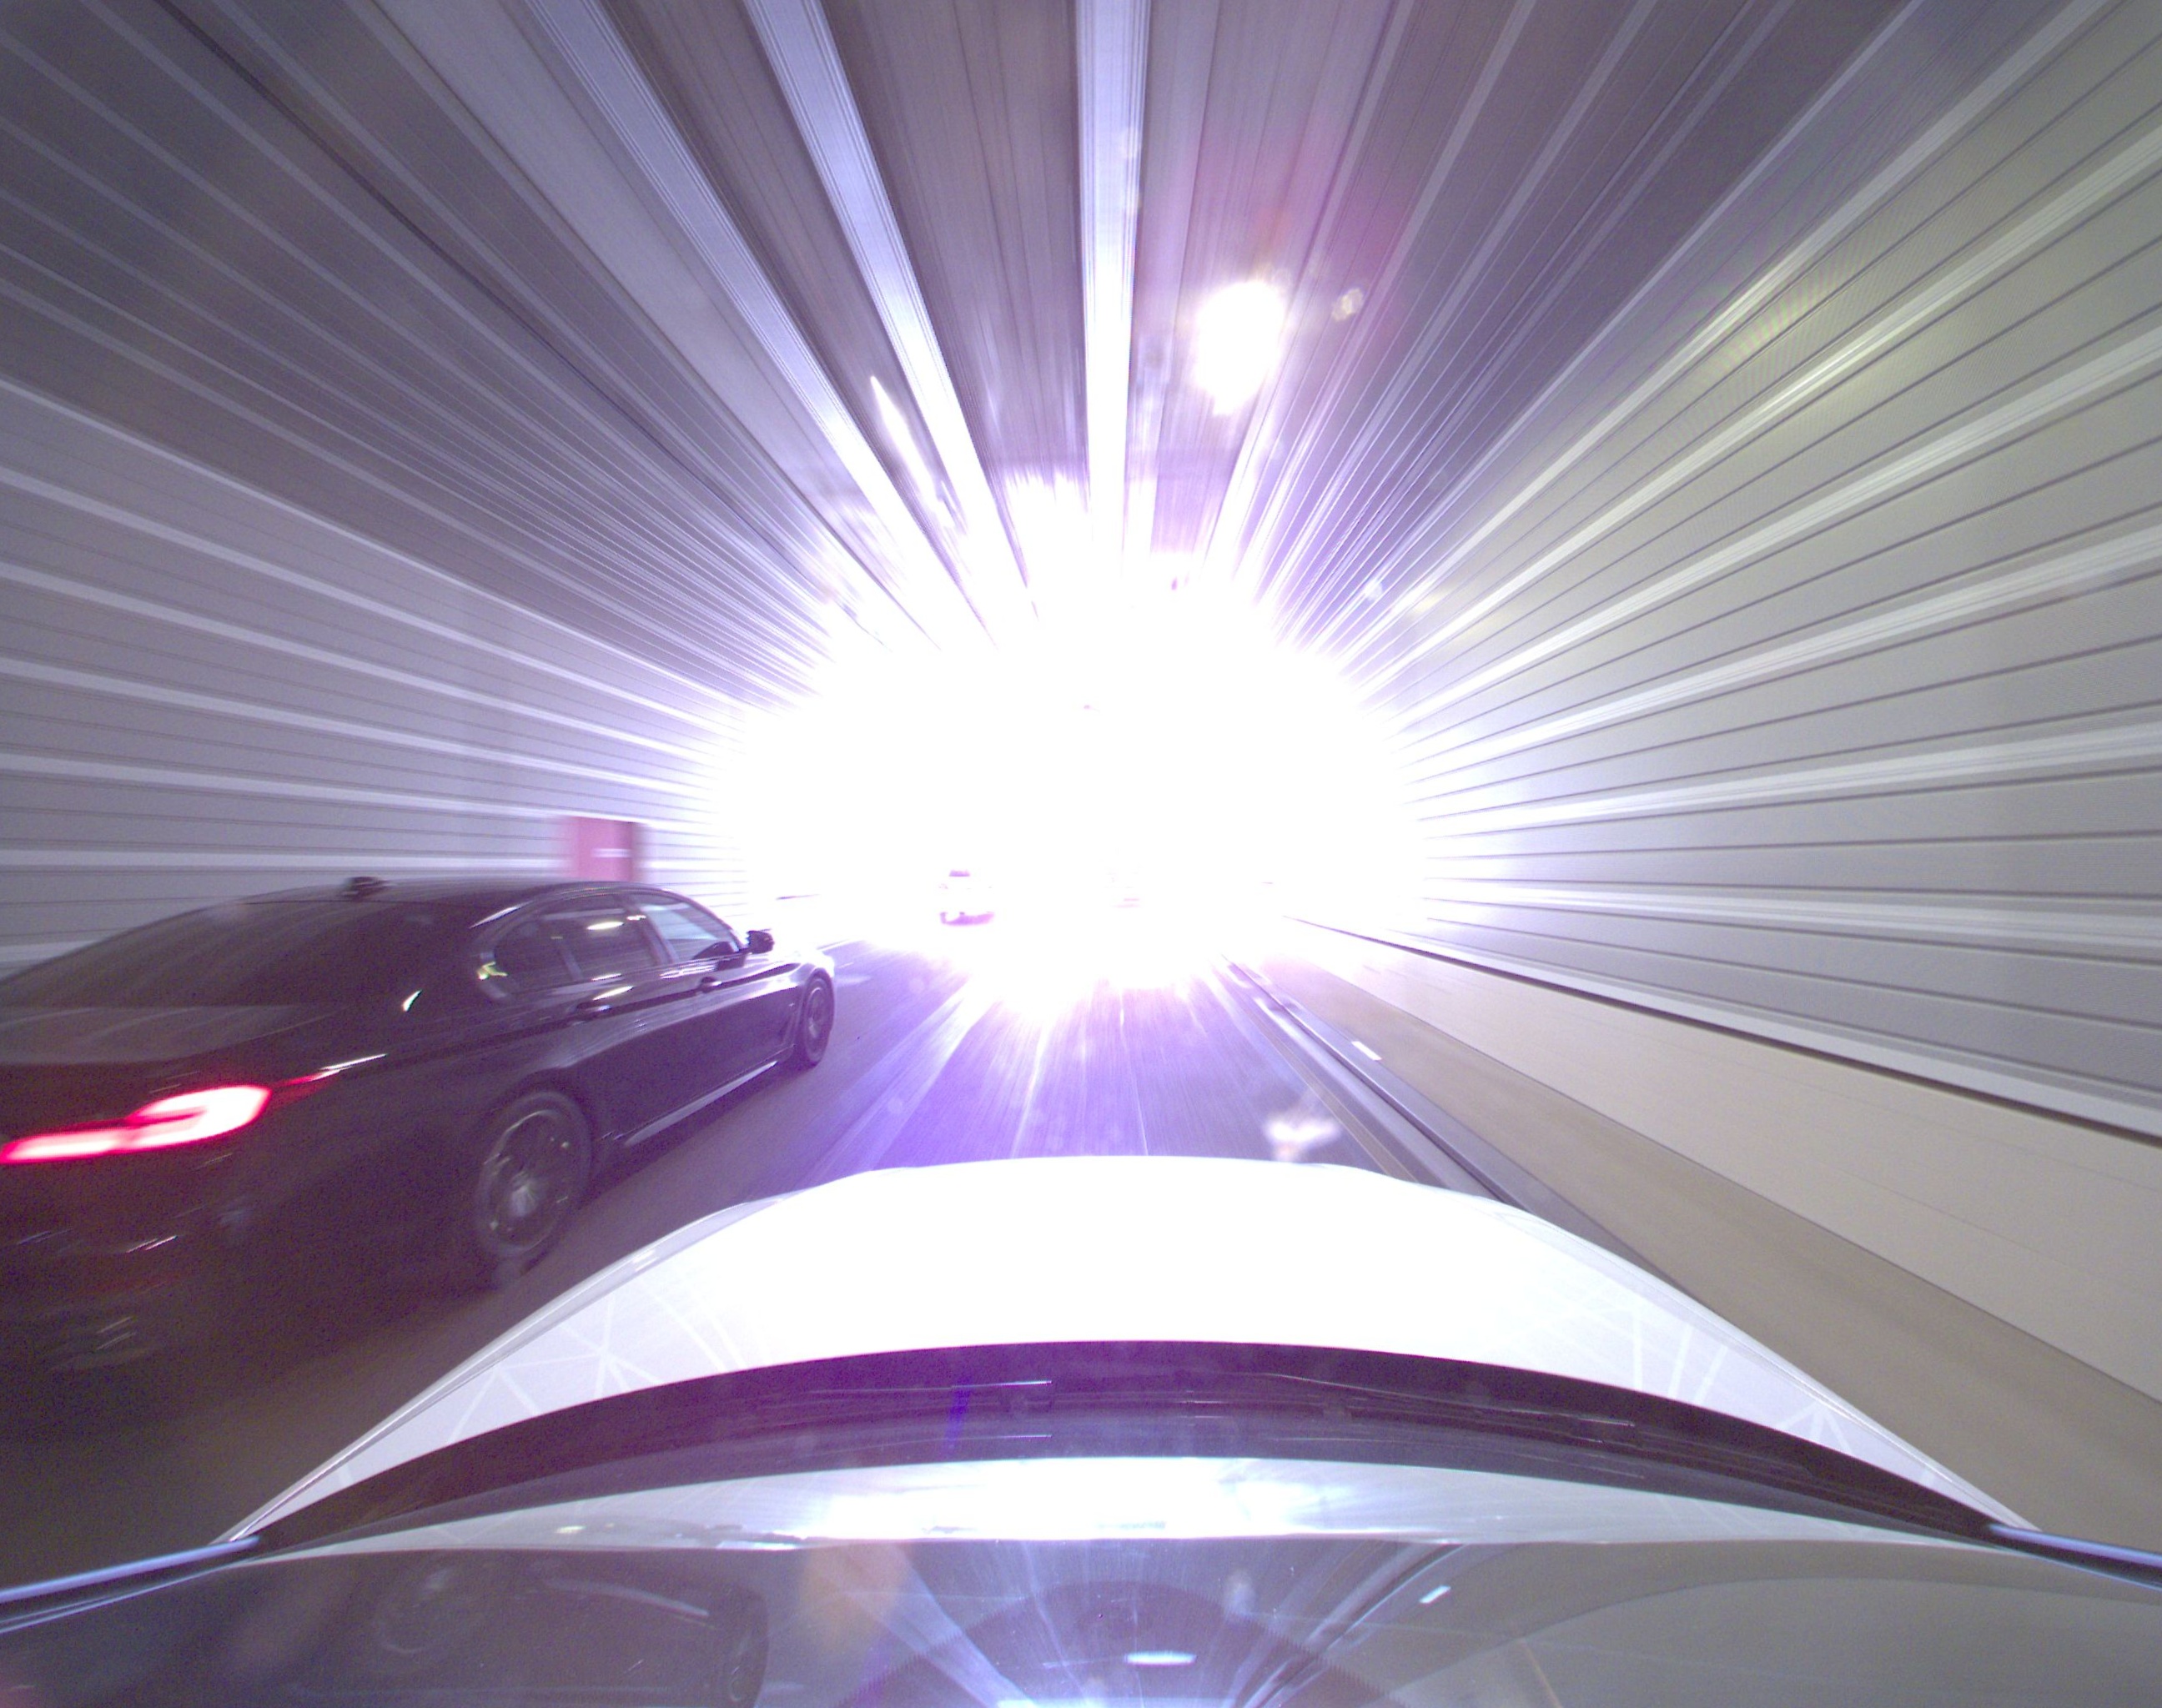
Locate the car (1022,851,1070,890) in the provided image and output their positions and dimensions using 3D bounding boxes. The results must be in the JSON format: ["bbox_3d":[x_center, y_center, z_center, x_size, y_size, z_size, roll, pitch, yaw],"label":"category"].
[{"bbox_3d":[-1.409,0.643,33.845,1.682,1.483,3.322,0,1,3],"label":"car"}]

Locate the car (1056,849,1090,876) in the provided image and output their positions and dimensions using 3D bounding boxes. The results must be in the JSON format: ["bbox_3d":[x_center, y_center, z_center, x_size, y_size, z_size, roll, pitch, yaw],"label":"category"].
[{"bbox_3d":[-0.435,0.490,49.139,1.884,1.474,3.993,0,1,2],"label":"car"}]

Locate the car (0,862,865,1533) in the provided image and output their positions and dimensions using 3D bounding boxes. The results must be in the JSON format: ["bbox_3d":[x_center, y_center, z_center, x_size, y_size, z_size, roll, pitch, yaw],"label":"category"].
[{"bbox_3d":[-2.830,0.773,4.299,1.801,1.439,5.006,0,0,3],"label":"car"}]

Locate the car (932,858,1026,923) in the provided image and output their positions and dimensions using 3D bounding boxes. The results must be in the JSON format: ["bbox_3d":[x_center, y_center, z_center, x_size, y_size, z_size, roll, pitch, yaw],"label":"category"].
[{"bbox_3d":[-2.425,0.830,20.229,1.612,1.403,3.855,0,1,3],"label":"car"}]

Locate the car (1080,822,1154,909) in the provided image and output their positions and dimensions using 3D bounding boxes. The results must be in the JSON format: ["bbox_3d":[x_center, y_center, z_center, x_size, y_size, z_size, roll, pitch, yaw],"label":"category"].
[{"bbox_3d":[1.125,0.308,24.868,2.021,2.402,3.977,-1,0,3],"label":"car"}]
